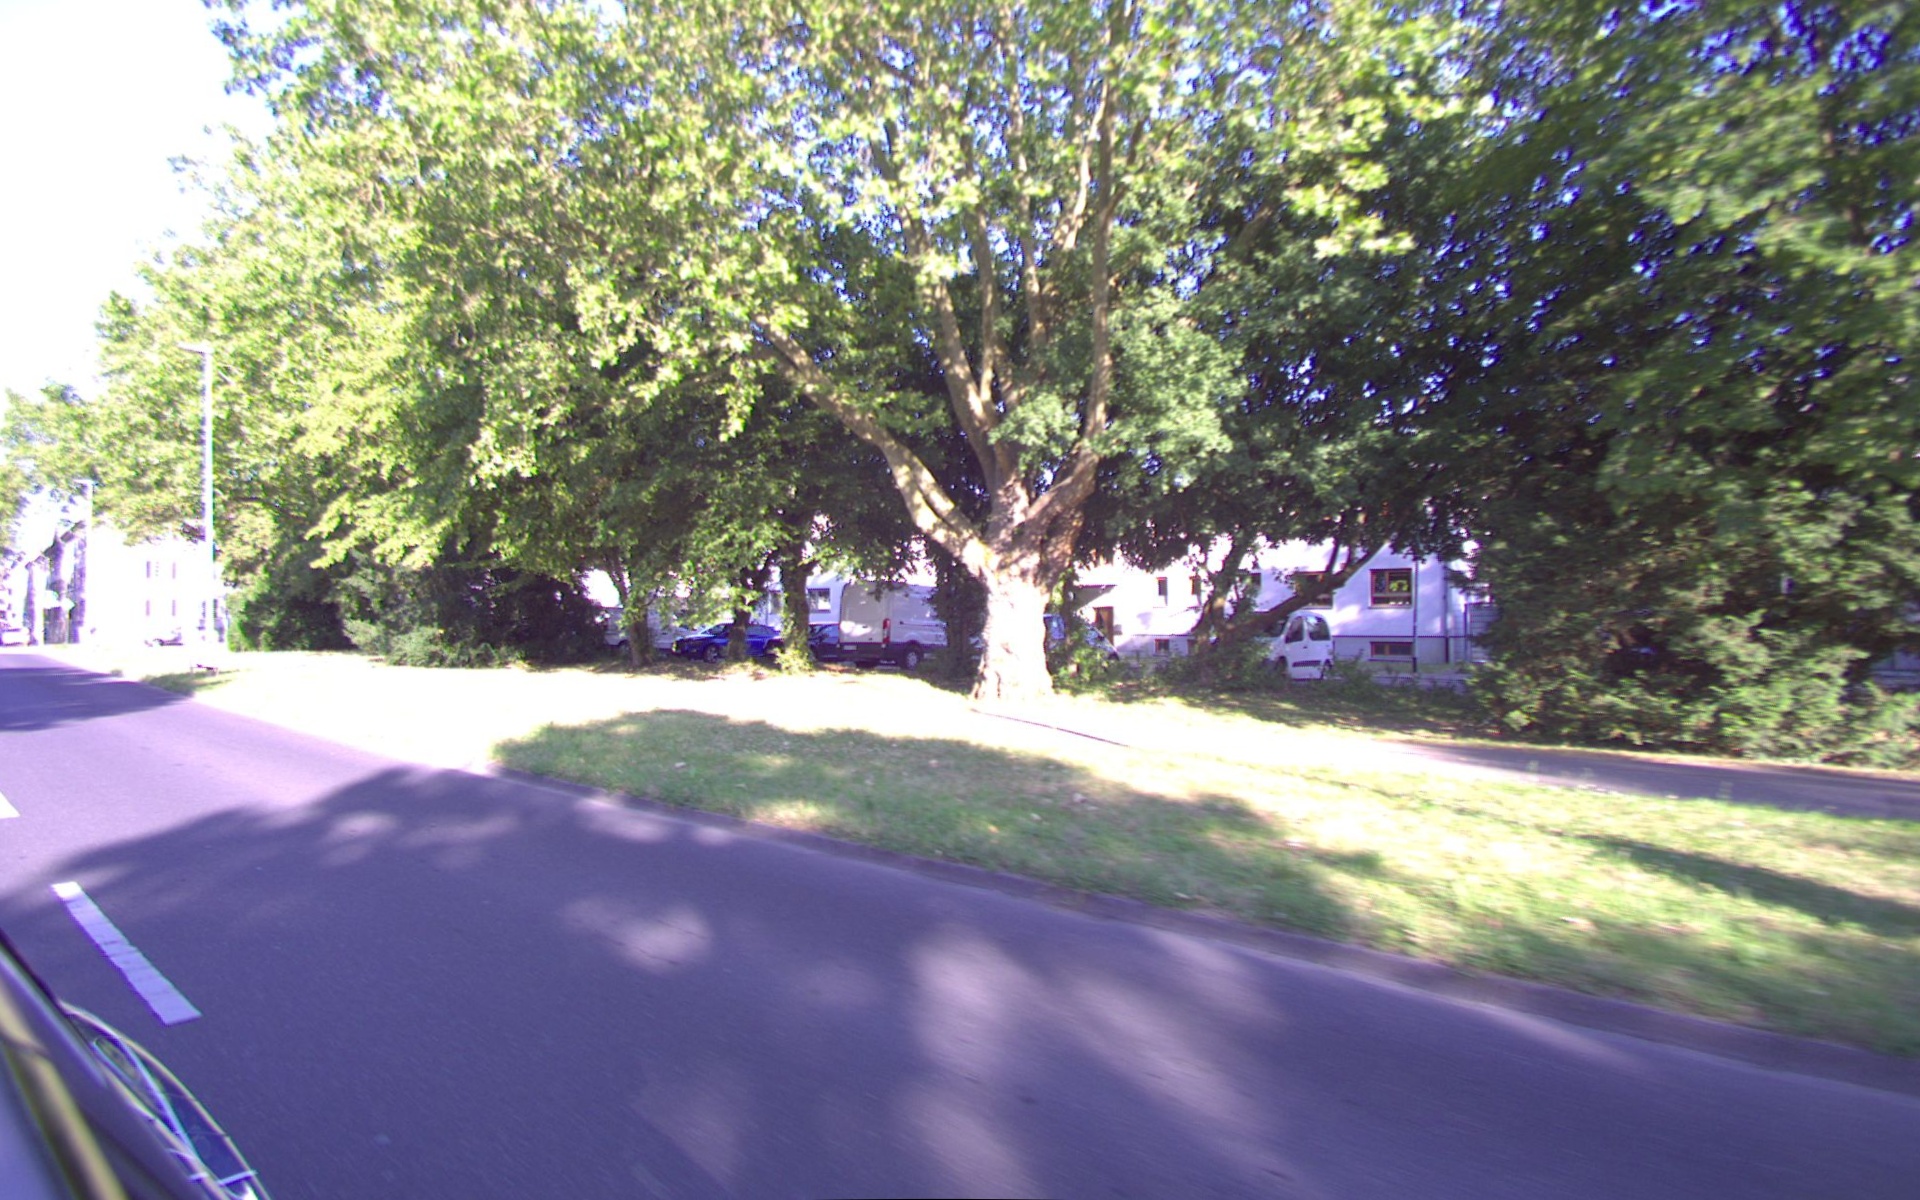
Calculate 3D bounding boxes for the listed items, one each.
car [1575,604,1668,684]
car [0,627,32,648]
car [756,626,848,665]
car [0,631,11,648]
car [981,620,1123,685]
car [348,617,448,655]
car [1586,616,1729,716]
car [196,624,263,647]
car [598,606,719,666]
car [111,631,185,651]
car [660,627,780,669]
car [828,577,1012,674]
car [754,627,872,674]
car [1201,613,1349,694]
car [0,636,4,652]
[{"bbox_3d":[18.435,1.185,28.123,1.996,2.029,4.505,0,-2,35],"label":"car"},{"bbox_3d":[-70.049,2.786,75.088,1.740,1.495,4.112,-1,-1,-43],"label":"car"},{"bbox_3d":[-7.251,2.078,46.856,1.997,1.697,3.949,-2,-2,37],"label":"car"},{"bbox_3d":[-87.513,3.612,91.965,1.843,1.495,4.090,0,-1,-43],"label":"car"},{"bbox_3d":[2.394,1.295,25.635,1.812,1.511,3.688,-2,-2,40],"label":"car"},{"bbox_3d":[-27.718,1.755,49.974,1.726,1.696,3.946,-2,0,41],"label":"car"},{"bbox_3d":[12.593,1.094,18.179,1.910,1.519,3.950,-1,-1,37],"label":"car"},{"bbox_3d":[-54.308,2.650,75.286,3.933,1.573,1.870,-1,0,-33],"label":"car"},{"bbox_3d":[-11.073,1.307,37.385,1.904,2.060,3.951,-4,-3,36],"label":"car"},{"bbox_3d":[-58.240,2.924,72.694,3.933,1.429,1.919,1,-2,-33],"label":"car"},{"bbox_3d":[-8.354,1.660,35.517,1.691,1.392,3.890,-2,-2,39],"label":"car"},{"bbox_3d":[-1.025,0.798,29.056,2.185,2.521,5.373,-2,-4,41],"label":"car"},{"bbox_3d":[-4.585,1.539,31.794,1.691,1.392,3.446,-2,-2,39],"label":"car"},{"bbox_3d":[7.040,1.144,22.381,1.949,1.608,4.087,-1,-3,36],"label":"car"},{"bbox_3d":[-99.287,4.526,103.535,4.087,1.624,1.845,-2,-2,43],"label":"car"}]
